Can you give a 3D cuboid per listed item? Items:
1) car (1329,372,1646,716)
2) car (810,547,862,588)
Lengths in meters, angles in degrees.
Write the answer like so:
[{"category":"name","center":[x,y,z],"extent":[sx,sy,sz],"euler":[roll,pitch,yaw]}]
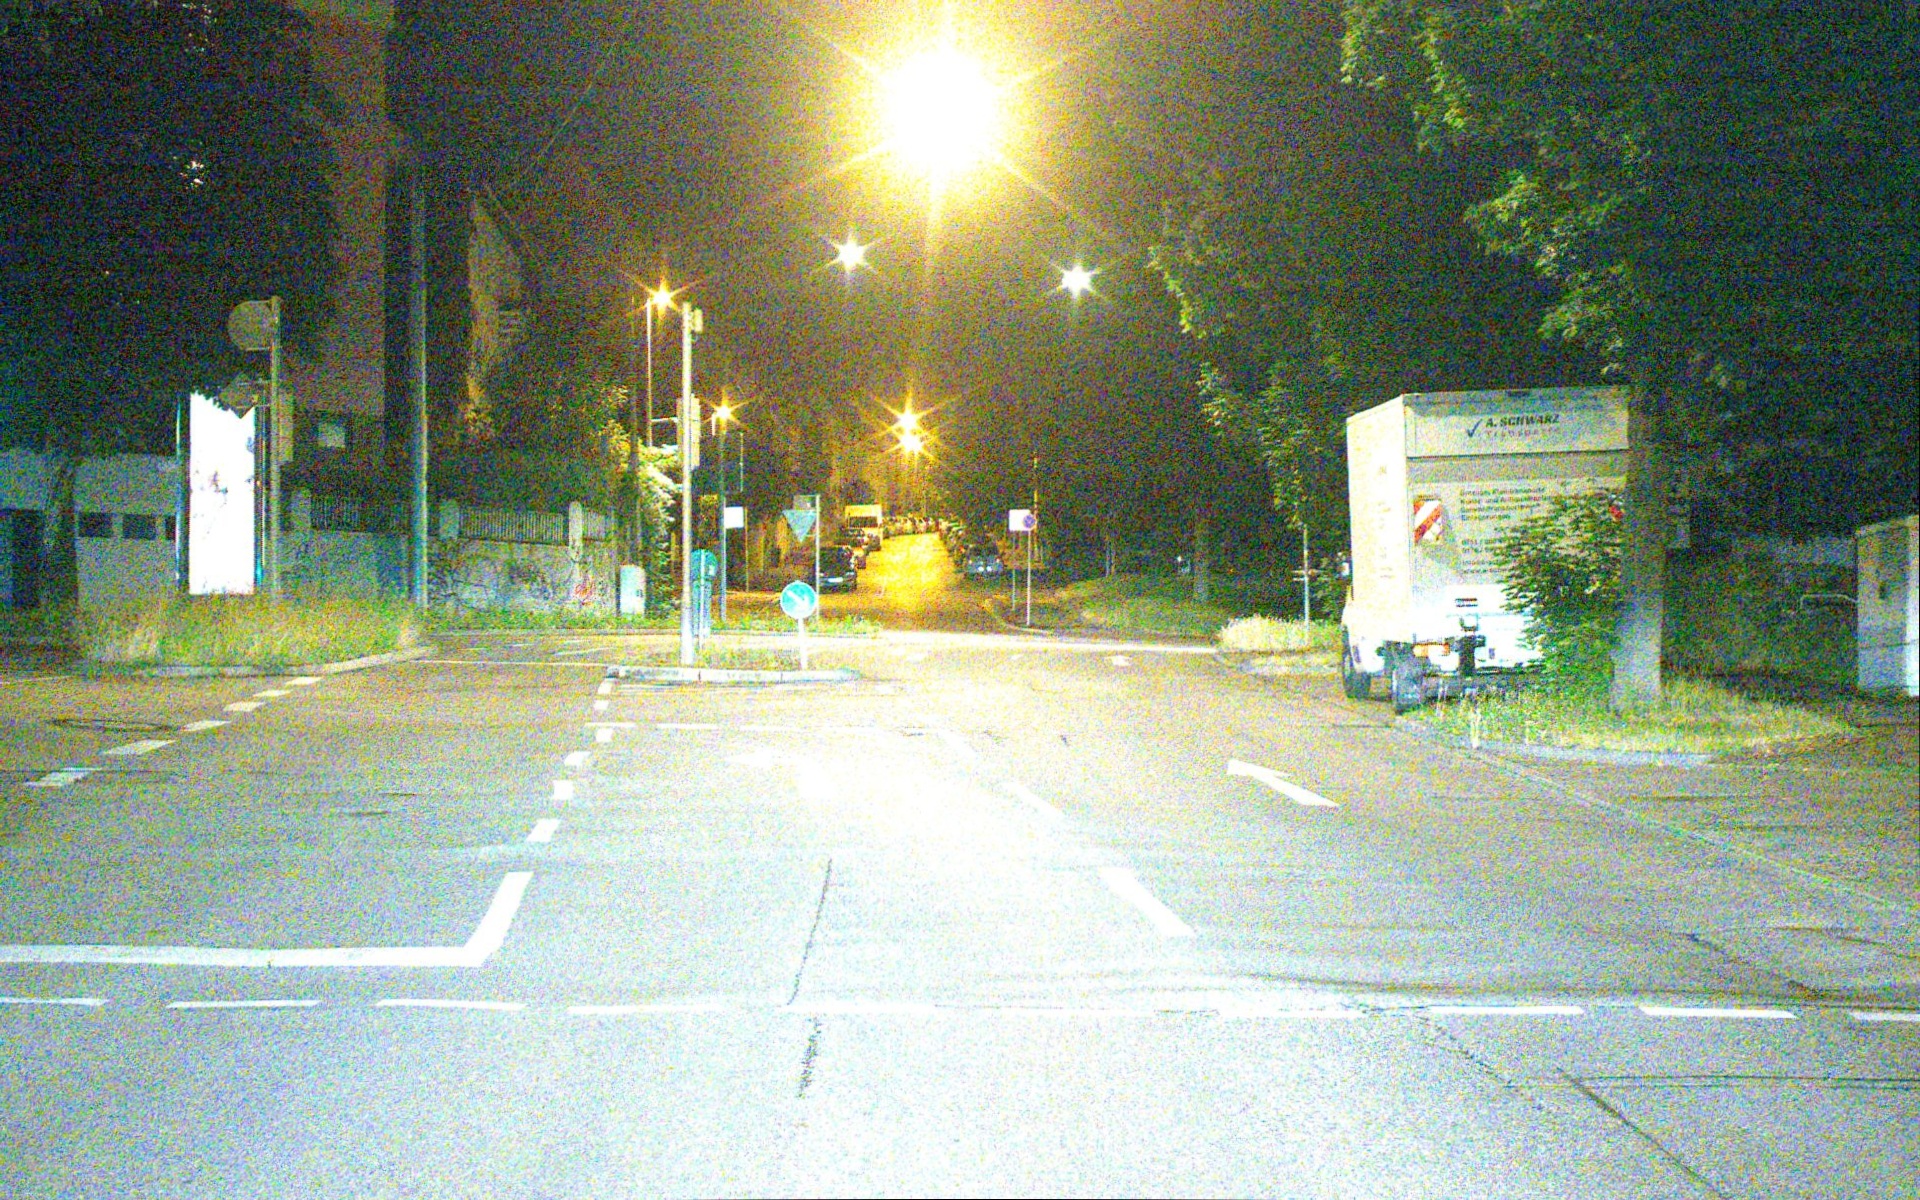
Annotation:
[{"category":"car","center":[5.121,-0.542,34.240],"extent":[2.297,3.082,5.840],"euler":[-1,1,1]},{"category":"car","center":[-4.845,-1.285,134.373],"extent":[1.908,1.552,3.904],"euler":[1,1,-1]}]
